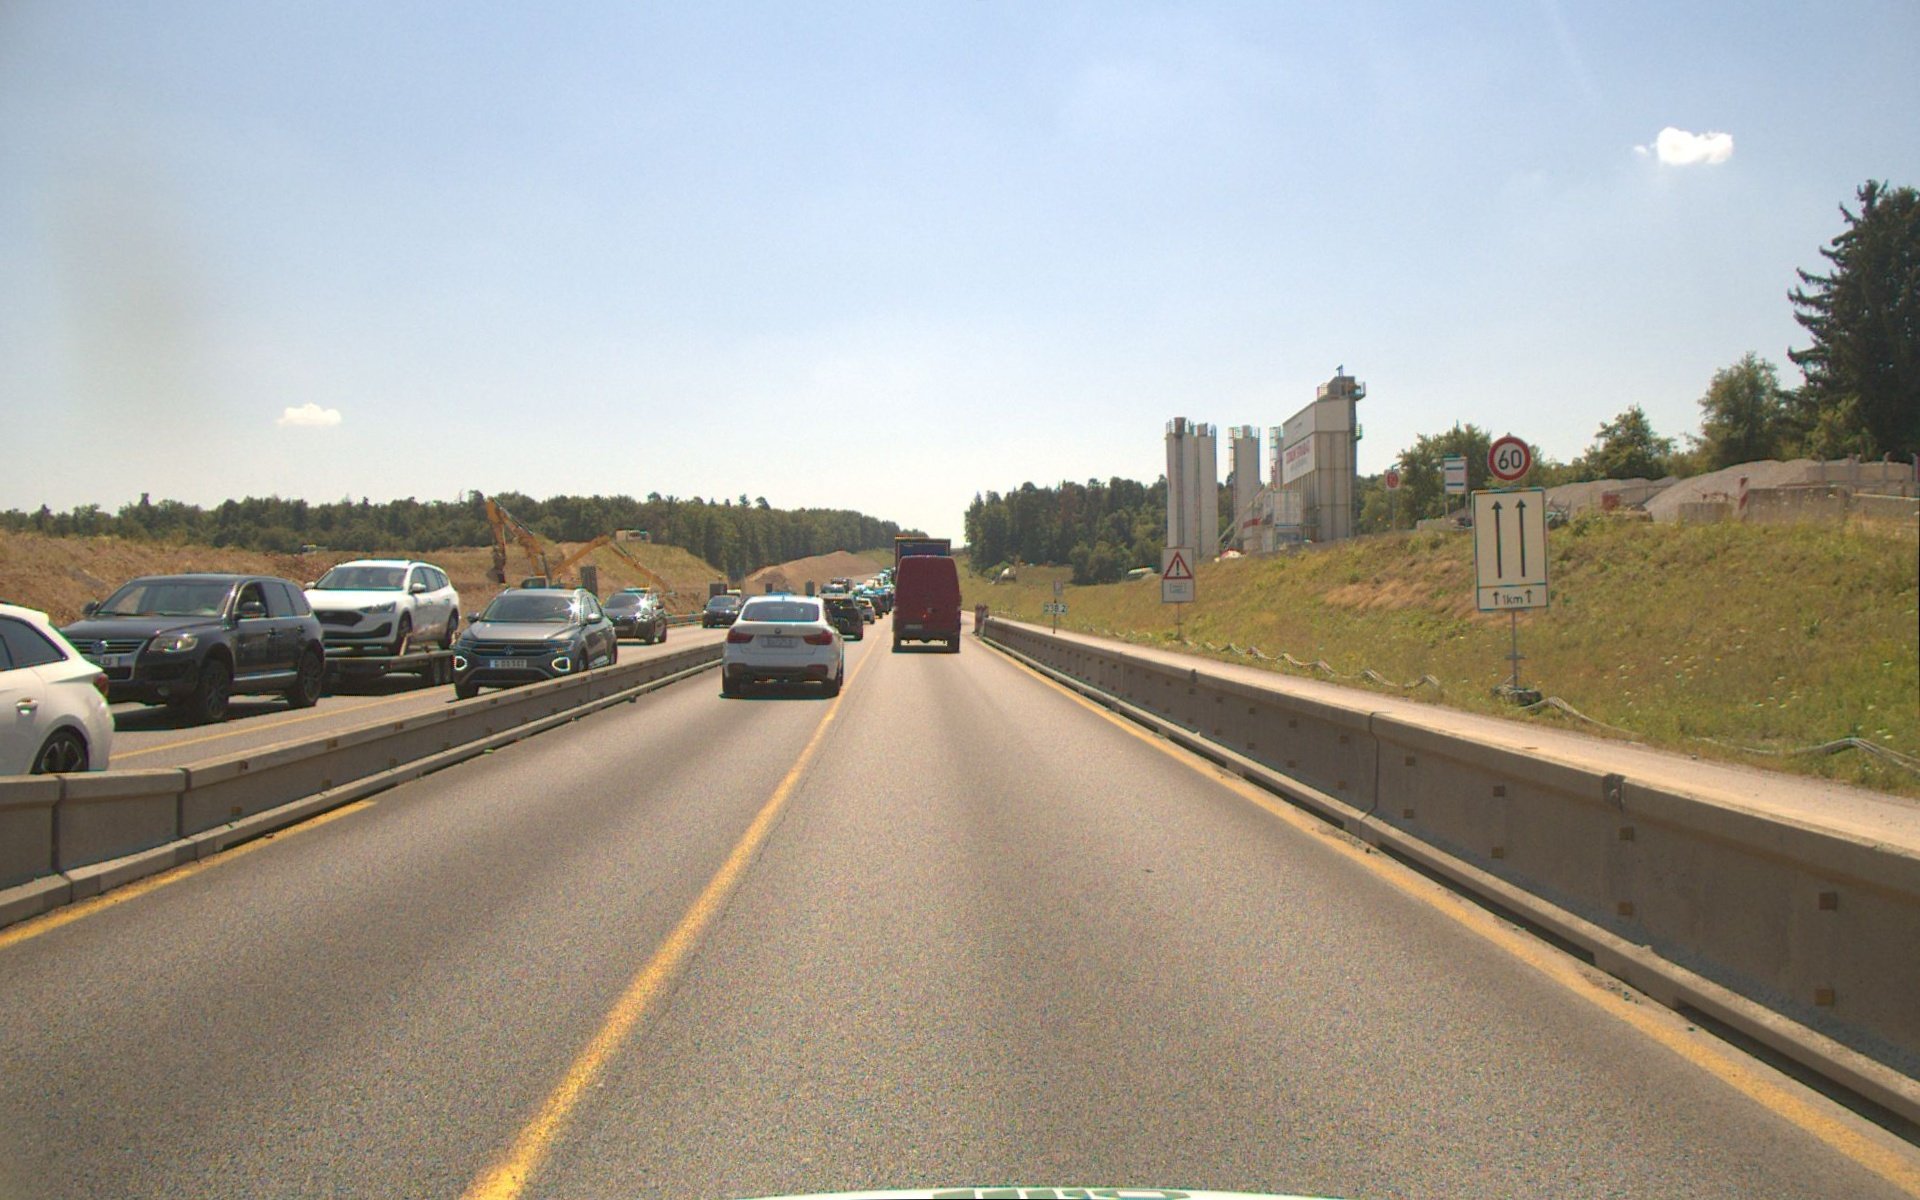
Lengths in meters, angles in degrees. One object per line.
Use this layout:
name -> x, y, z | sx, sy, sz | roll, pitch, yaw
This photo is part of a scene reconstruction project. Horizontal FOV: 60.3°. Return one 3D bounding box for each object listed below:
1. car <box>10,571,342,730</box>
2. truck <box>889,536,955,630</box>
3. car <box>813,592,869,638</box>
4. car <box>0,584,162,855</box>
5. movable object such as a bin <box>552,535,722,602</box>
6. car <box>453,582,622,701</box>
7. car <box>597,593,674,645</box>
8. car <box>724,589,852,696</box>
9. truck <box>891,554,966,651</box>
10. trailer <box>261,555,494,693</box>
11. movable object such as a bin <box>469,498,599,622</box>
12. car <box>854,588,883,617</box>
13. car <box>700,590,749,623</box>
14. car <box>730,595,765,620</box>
car -> -9.317, 0.534, 20.165 | 1.884, 1.708, 4.716 | 0, 0, -2
truck -> -1.781, -0.783, 78.659 | 2.954, 4.225, 8.270 | 0, 0, -1
car -> -4.173, 0.512, 58.548 | 1.759, 1.561, 3.930 | 0, 0, -1
car -> -6.136, 0.661, 8.629 | 1.779, 1.481, 4.633 | 0, 0, -1
movable object such as a bin -> -36.219, -3.571, 186.234 | 18.342, 7.358, 3.613 | 0, 0, -4
car -> -6.185, 0.562, 24.619 | 1.660, 1.607, 4.131 | 0, 0, -3
car -> -9.980, 0.556, 51.130 | 1.690, 1.504, 4.391 | 0, 0, -2
car -> -2.702, 0.632, 26.941 | 1.759, 1.561, 5.070 | 1, 0, -2
truck -> -0.977, 0.057, 49.455 | 2.069, 2.679, 6.482 | 0, 0, -2
trailer -> -9.474, 0.332, 27.419 | 2.087, 2.016, 5.233 | -1, 1, -2
movable object such as a bin -> -27.521, -2.568, 107.148 | 7.481, 7.848, 3.445 | 0, 0, -1
car -> -6.538, 0.167, 118.237 | 1.953, 2.049, 3.999 | 0, 0, -2
car -> -11.182, 0.288, 78.830 | 1.823, 1.527, 4.574 | 0, 0, -2
car -> -12.599, 0.443, 98.211 | 1.619, 1.467, 4.225 | 0, 0, -2
